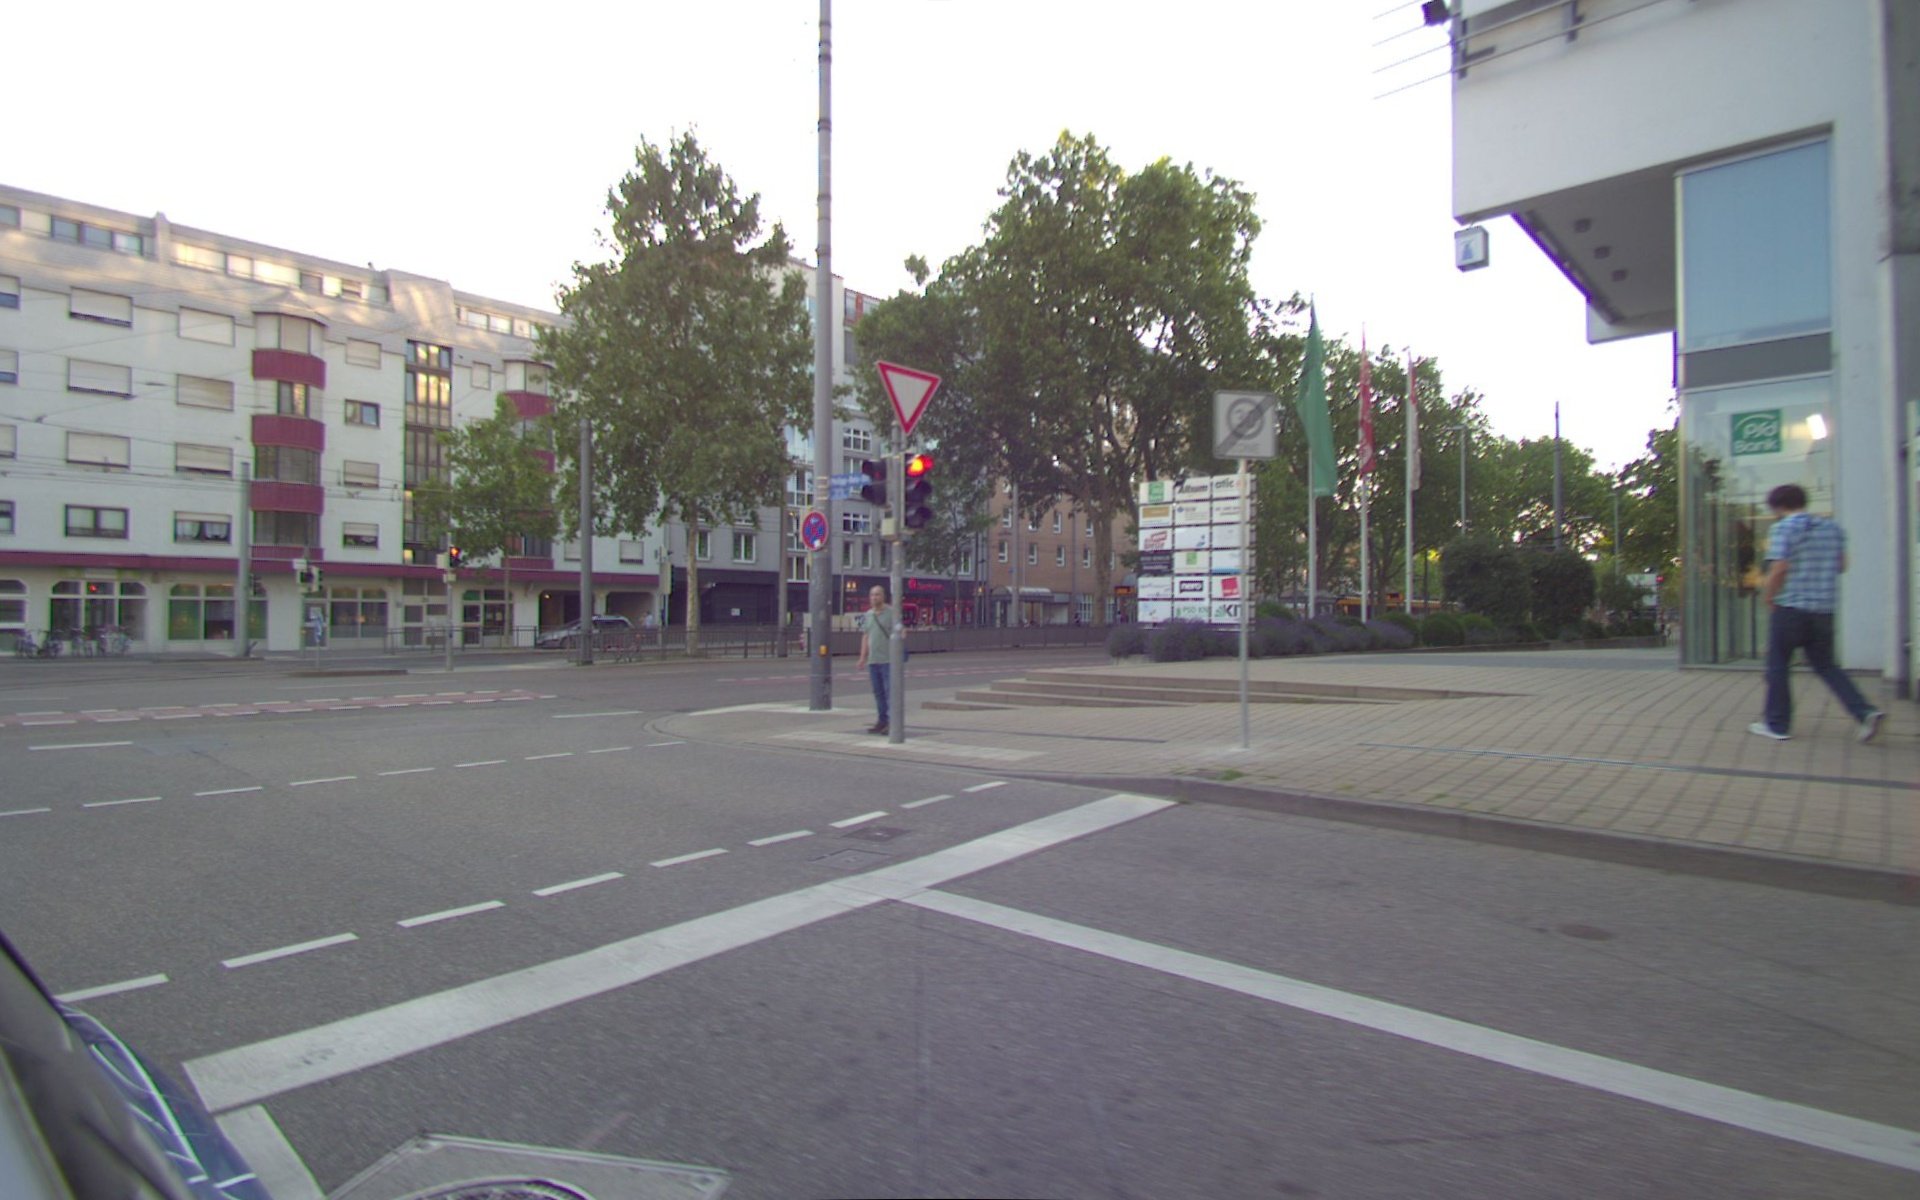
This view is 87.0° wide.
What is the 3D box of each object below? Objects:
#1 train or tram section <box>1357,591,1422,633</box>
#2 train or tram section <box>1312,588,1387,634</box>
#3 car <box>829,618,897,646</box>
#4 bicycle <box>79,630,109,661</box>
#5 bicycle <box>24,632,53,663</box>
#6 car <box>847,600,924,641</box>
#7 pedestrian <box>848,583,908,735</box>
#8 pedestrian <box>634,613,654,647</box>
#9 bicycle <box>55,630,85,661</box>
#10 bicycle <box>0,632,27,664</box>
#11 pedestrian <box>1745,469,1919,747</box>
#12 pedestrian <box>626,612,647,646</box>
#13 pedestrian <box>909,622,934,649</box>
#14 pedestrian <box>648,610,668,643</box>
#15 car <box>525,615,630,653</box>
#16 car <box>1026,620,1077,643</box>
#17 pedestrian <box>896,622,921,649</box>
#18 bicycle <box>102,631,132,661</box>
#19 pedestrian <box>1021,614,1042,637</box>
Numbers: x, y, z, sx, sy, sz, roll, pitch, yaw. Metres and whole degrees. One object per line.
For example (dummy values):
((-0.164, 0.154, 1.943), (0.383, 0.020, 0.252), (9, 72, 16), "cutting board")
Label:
((37.174, 1.074, 87.374), (2.335, 3.414, 10.395), (-1, -2, 39), "train or tram section")
((30.630, 0.914, 79.319), (2.335, 3.414, 10.395), (-1, -2, 39), "train or tram section")
((-5.841, 1.936, 61.289), (1.666, 1.608, 4.044), (-2, -2, 42), "car")
((-31.031, 1.614, 36.245), (1.901, 1.054, 0.508), (-2, -2, 40), "bicycle")
((-31.975, 1.631, 35.110), (1.901, 1.054, 0.508), (-2, -2, 40), "bicycle")
((-4.773, 1.314, 65.244), (1.852, 2.560, 5.009), (-2, -2, 43), "car")
((-0.972, 0.677, 11.904), (0.537, 1.714, 0.710), (0, -2, -20), "pedestrian")
((-16.824, 1.593, 53.878), (0.692, 1.820, 0.824), (-2, -2, 44), "pedestrian")
((-31.476, 1.601, 35.792), (1.901, 1.054, 0.508), (-2, -2, 40), "bicycle")
((-32.398, 1.623, 34.581), (1.901, 1.054, 0.508), (-2, -2, 40), "bicycle")
((6.425, 0.036, 7.436), (0.693, 1.896, 0.875), (-4, 4, 14), "pedestrian")
((-17.432, 1.540, 54.499), (0.692, 1.820, 0.824), (-2, -2, 44), "pedestrian")
((-2.151, 1.988, 56.467), (0.937, 1.464, 0.984), (-2, -2, 42), "pedestrian")
((-16.429, 1.442, 55.056), (0.692, 1.820, 0.824), (-2, -2, 44), "pedestrian")
((-16.815, 1.473, 44.602), (1.666, 1.608, 4.044), (-2, -2, 42), "car")
((6.739, 2.301, 74.192), (1.666, 1.608, 4.044), (-2, -2, 42), "car")
((-2.820, 1.973, 55.748), (0.937, 1.464, 0.984), (-2, -2, 42), "pedestrian")
((-30.449, 1.664, 36.533), (1.901, 1.054, 0.508), (-2, -2, 40), "bicycle")
((4.520, 1.608, 64.131), (0.937, 1.464, 0.984), (-2, -2, 42), "pedestrian")
